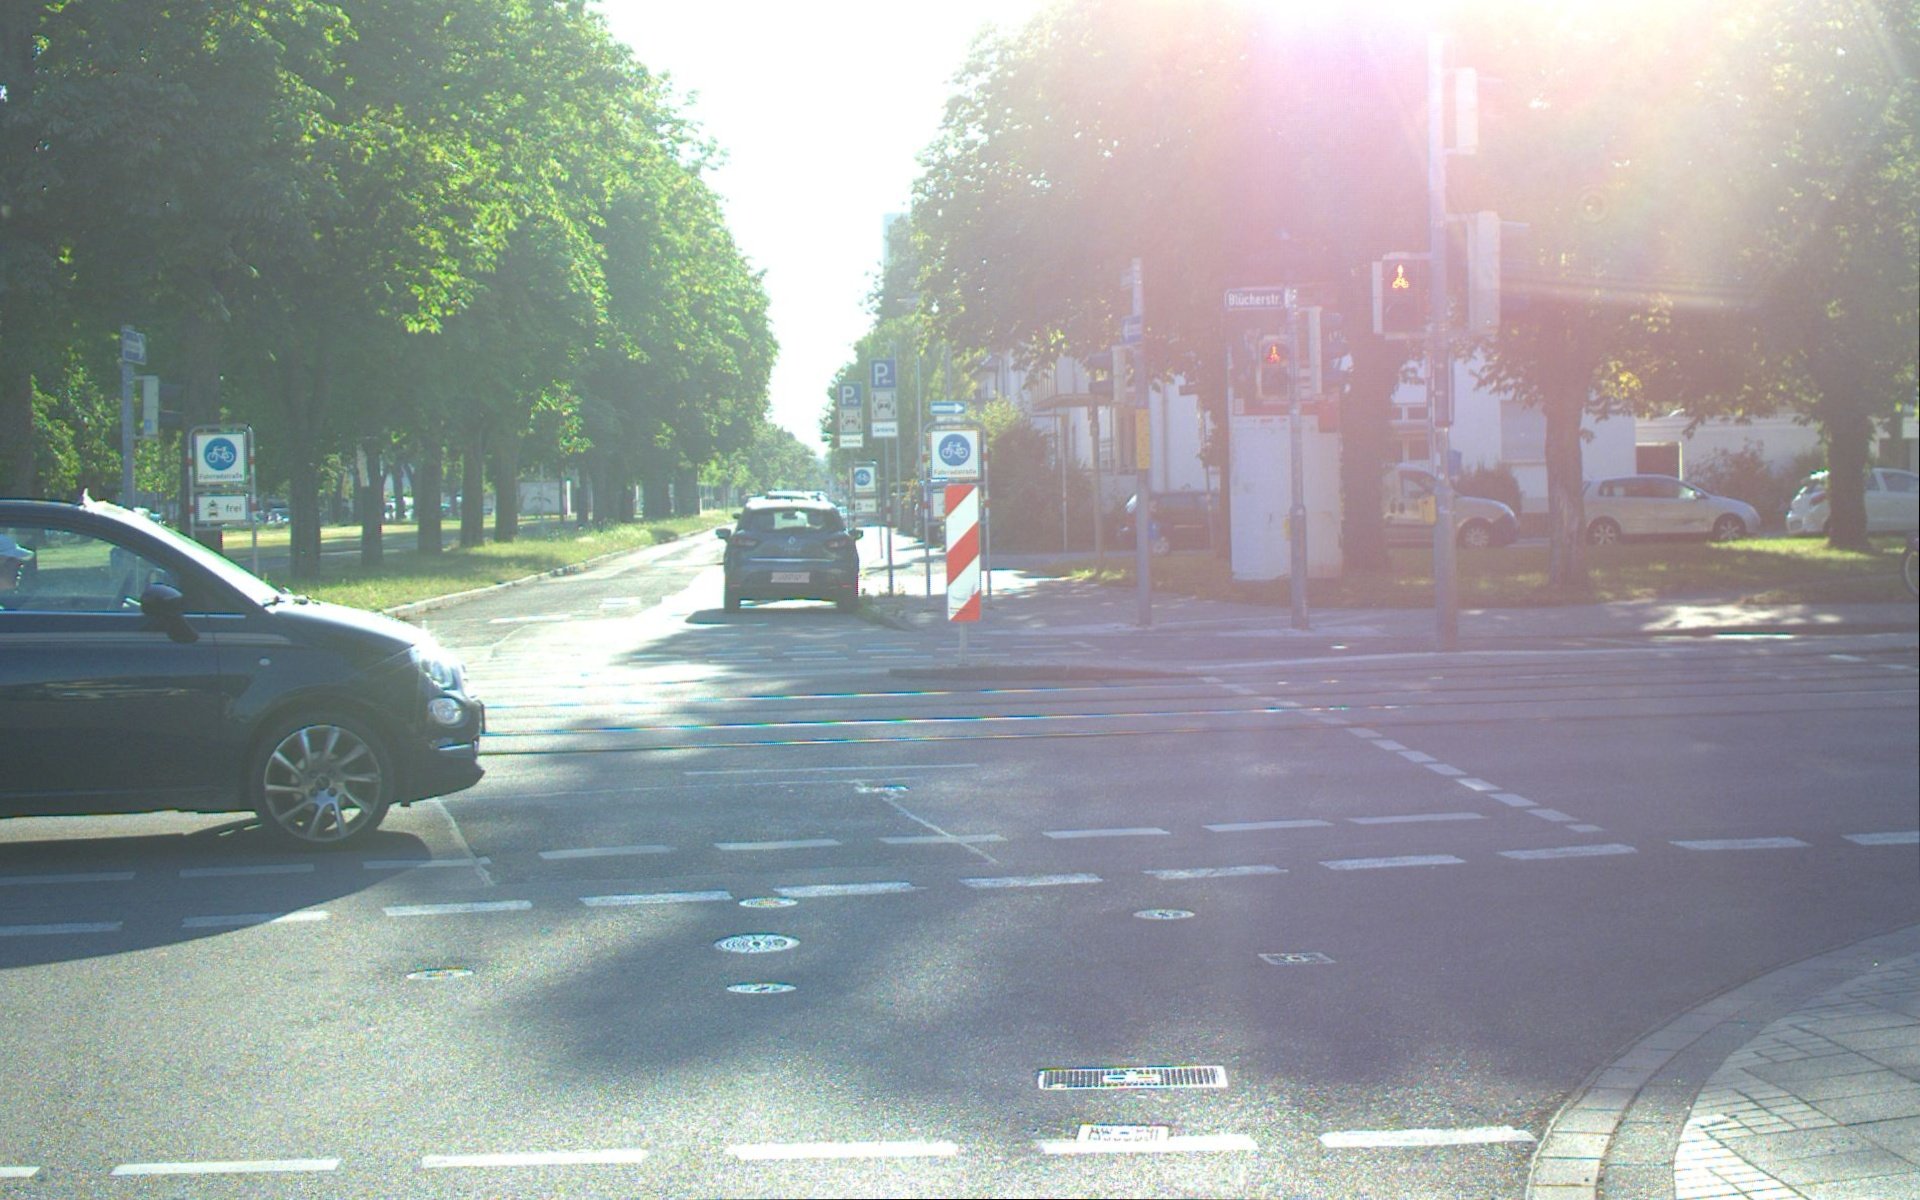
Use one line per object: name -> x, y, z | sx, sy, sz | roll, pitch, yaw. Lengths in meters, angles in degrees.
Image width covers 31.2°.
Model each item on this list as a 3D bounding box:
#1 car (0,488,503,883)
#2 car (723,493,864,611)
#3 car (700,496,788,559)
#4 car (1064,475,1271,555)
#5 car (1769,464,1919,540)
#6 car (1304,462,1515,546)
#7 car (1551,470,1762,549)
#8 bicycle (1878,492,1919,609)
car -> -3.811, 0.337, 14.414 | 3.595, 1.492, 1.613 | -2, 2, -12
car -> -2.122, -0.647, 44.591 | 1.641, 1.446, 3.307 | -1, 2, 0
car -> -4.913, -1.672, 78.568 | 1.845, 1.389, 3.829 | 0, 2, -1
car -> 3.940, -1.630, 65.695 | 3.779, 1.422, 1.744 | -1, 3, -2
car -> 17.850, -1.916, 66.748 | 3.844, 1.422, 1.598 | -1, 2, -6
car -> 8.610, -1.854, 66.023 | 3.779, 1.520, 1.744 | -1, 3, -2
car -> 13.350, -1.743, 65.974 | 3.662, 1.422, 1.532 | -1, 2, -6
bicycle -> 10.036, -0.503, 33.575 | 1.954, 1.128, 0.620 | -1, 2, 0
